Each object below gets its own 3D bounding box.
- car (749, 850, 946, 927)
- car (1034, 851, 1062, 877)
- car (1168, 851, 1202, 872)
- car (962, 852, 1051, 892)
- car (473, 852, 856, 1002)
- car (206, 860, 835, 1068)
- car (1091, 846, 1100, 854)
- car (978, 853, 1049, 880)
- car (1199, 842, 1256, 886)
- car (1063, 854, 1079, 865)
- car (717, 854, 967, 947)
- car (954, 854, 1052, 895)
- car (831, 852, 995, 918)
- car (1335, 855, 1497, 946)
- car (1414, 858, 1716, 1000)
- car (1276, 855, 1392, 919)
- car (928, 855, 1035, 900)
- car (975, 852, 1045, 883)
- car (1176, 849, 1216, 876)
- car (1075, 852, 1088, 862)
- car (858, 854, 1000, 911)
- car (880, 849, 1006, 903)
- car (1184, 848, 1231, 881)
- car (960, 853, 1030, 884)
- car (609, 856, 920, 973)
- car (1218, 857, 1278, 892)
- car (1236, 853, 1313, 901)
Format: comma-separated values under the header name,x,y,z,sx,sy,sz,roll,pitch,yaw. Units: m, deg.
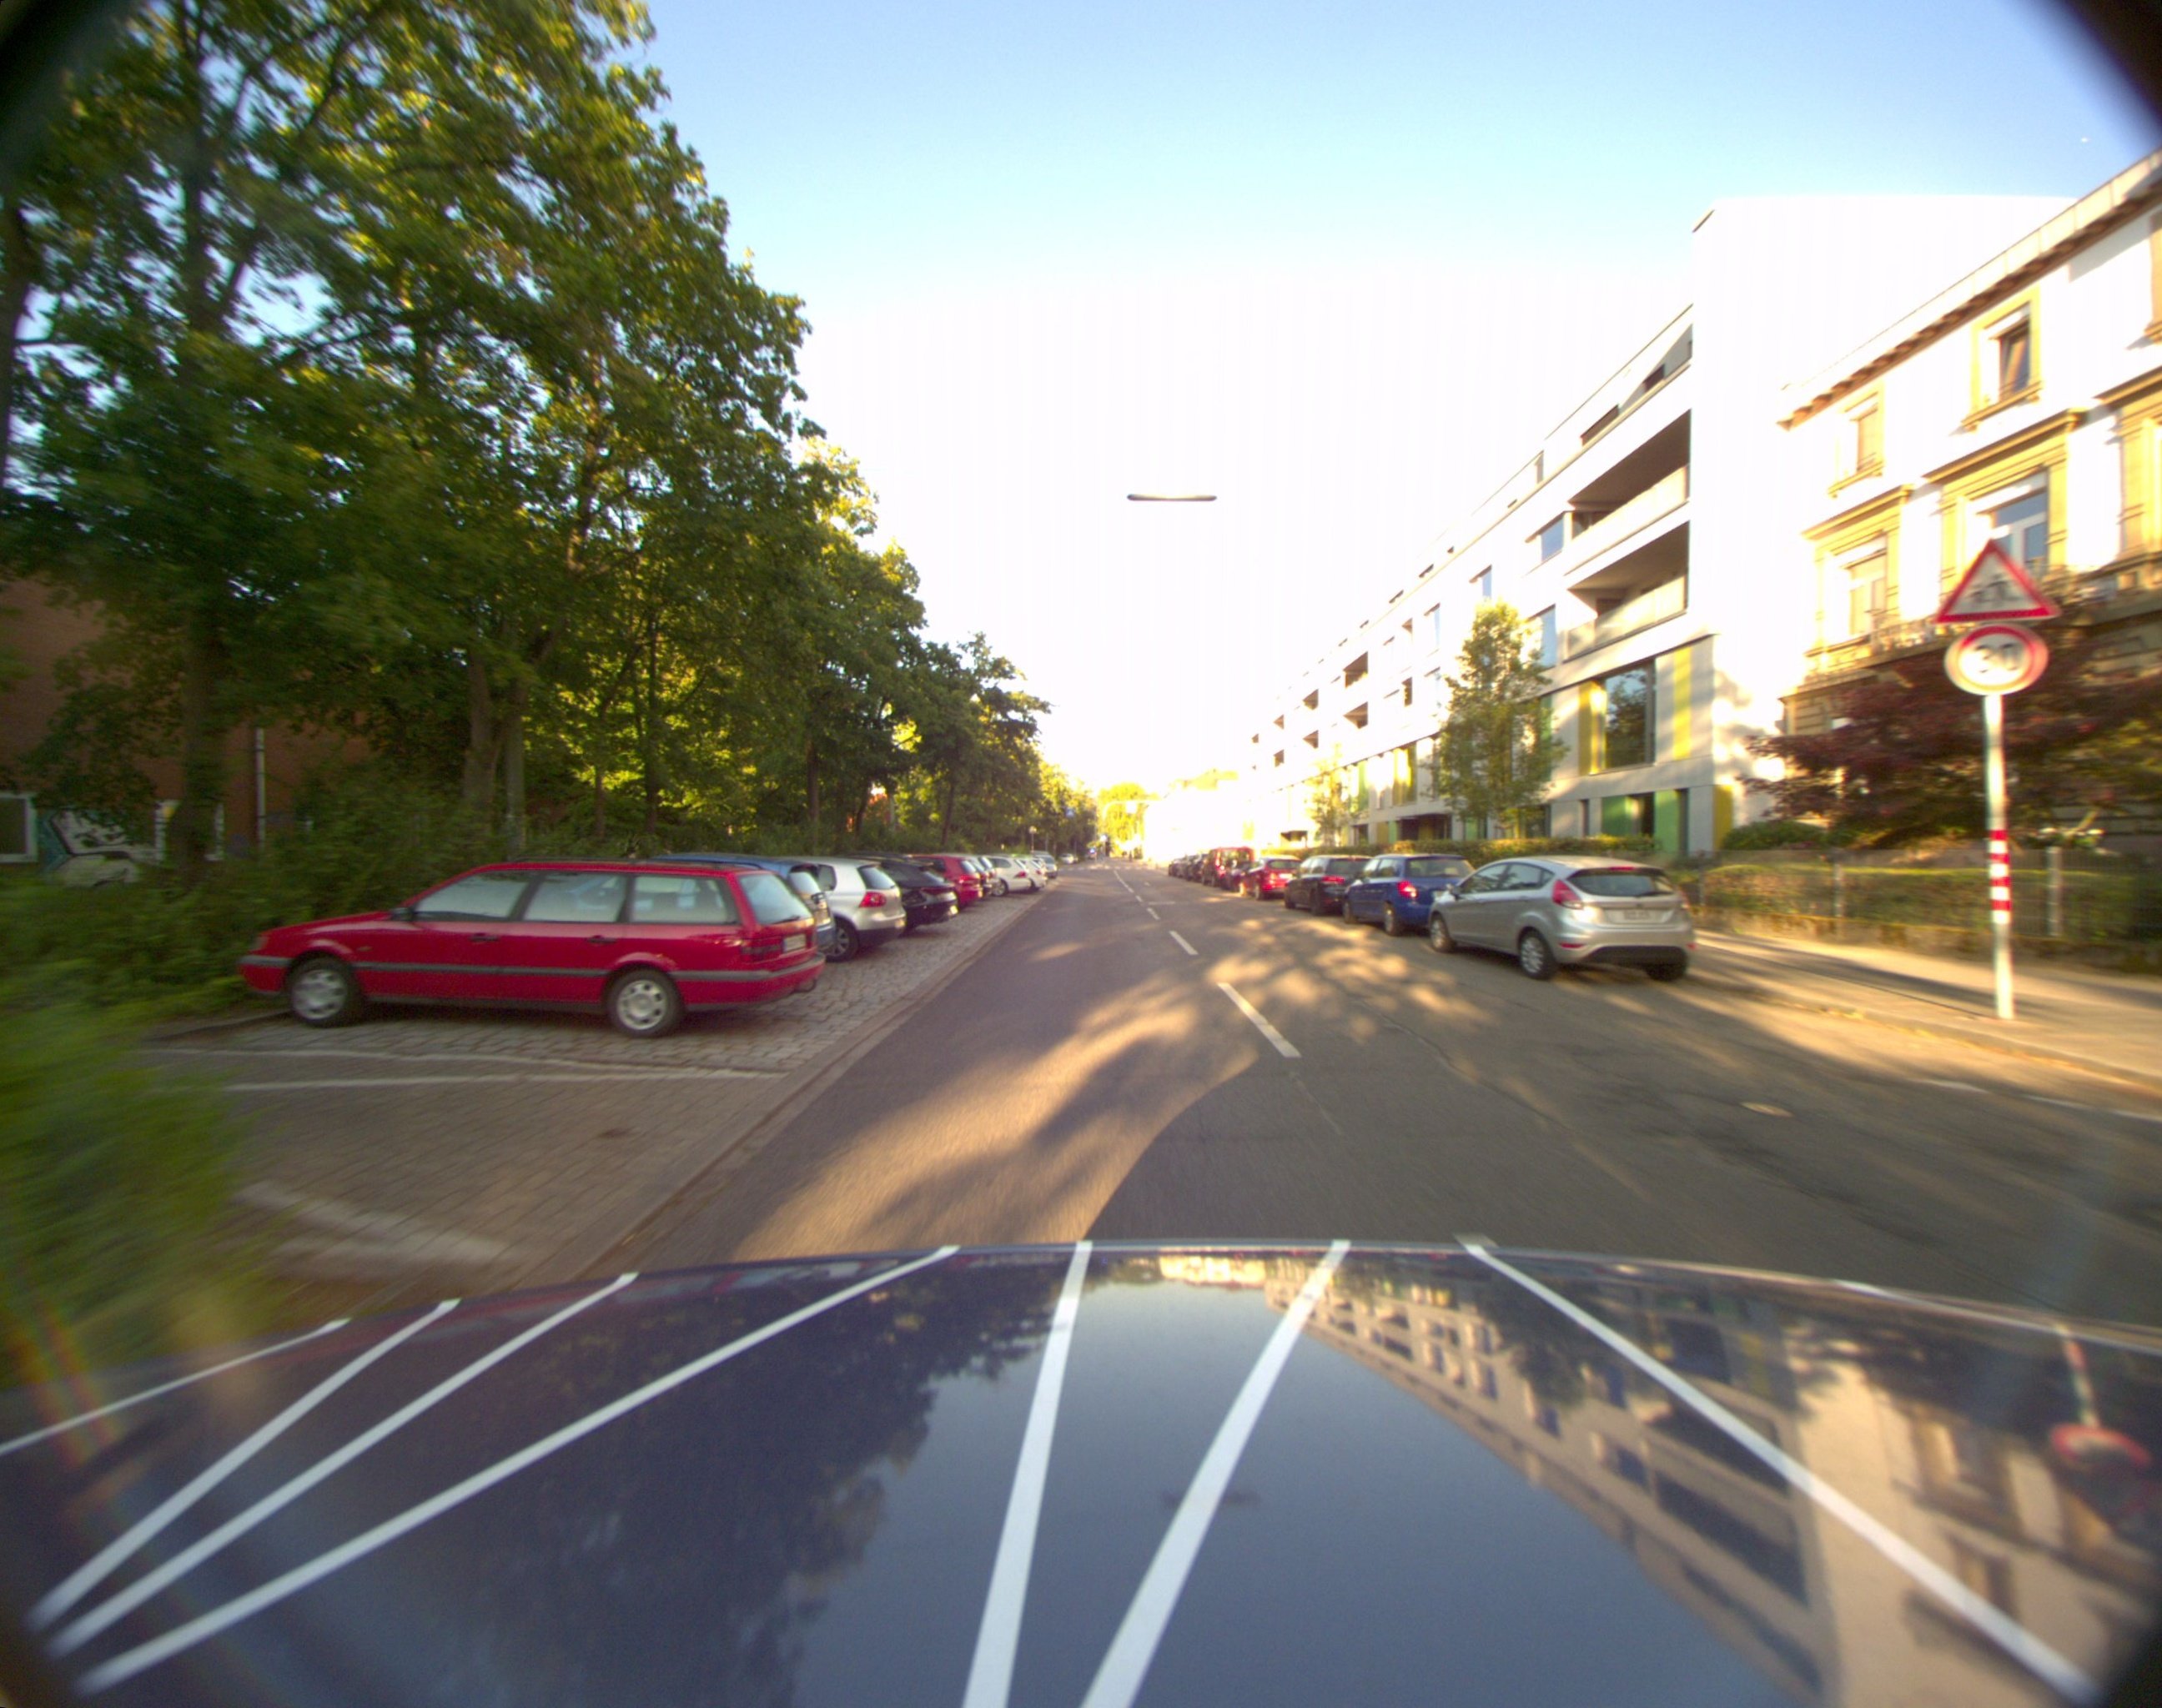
name,x,y,z,sx,sy,sz,roll,pitch,yaw
car,-5.189,0.731,17.238,3.816,1.466,1.832,3,1,2
car,-2.138,0.627,48.322,1.655,1.558,4.299,0,0,-4
car,6.888,0.468,50.879,1.746,1.349,4.396,0,0,1
car,-3.164,0.758,32.711,3.619,1.516,1.671,3,0,-1
car,-4.929,0.833,9.422,3.722,1.547,1.741,2,1,-3
car,-4.724,0.880,6.891,4.348,1.466,1.742,2,0,0
car,3.888,-1.027,204.491,2.228,2.002,4.890,-1,1,2
car,-3.878,0.697,44.200,3.959,1.503,1.739,0,1,0
car,6.693,0.439,35.221,1.812,1.878,4.238,1,0,0
car,-1.339,0.809,105.125,1.751,1.478,4.177,0,0,4
car,-4.391,0.826,14.434,4.131,1.466,1.831,2,1,-1
car,-3.075,0.799,30.393,3.675,1.436,1.735,3,0,-1
car,-4.313,0.772,19.896,3.816,1.466,1.757,3,0,1
car,6.263,0.783,14.682,1.602,1.499,3.788,1,0,3
car,6.049,0.820,10.087,1.605,1.485,3.772,1,0,1
car,6.296,0.761,19.385,1.602,1.446,4.055,1,0,0
car,-3.560,0.837,27.620,3.675,1.543,1.735,0,0,-1
car,-3.848,0.725,41.717,3.635,1.531,1.671,-1,1,1
car,6.959,0.489,46.333,1.746,1.525,4.115,-1,0,-1
car,0.109,0.451,111.638,1.752,1.478,4.510,0,0,3
car,-4.416,0.800,22.447,3.758,1.387,1.756,3,1,1
car,-4.487,0.697,25.077,3.734,1.490,1.820,3,1,1
car,6.683,0.525,40.617,1.746,1.666,4.416,1,0,0
car,-4.383,0.735,39.217,3.393,1.517,1.671,0,0,1
car,-4.671,0.852,11.621,3.933,1.445,1.832,2,1,2
car,6.538,0.762,30.080,1.560,1.272,3.733,1,0,0
car,6.403,0.714,25.562,1.602,1.447,3.861,0,1,0
